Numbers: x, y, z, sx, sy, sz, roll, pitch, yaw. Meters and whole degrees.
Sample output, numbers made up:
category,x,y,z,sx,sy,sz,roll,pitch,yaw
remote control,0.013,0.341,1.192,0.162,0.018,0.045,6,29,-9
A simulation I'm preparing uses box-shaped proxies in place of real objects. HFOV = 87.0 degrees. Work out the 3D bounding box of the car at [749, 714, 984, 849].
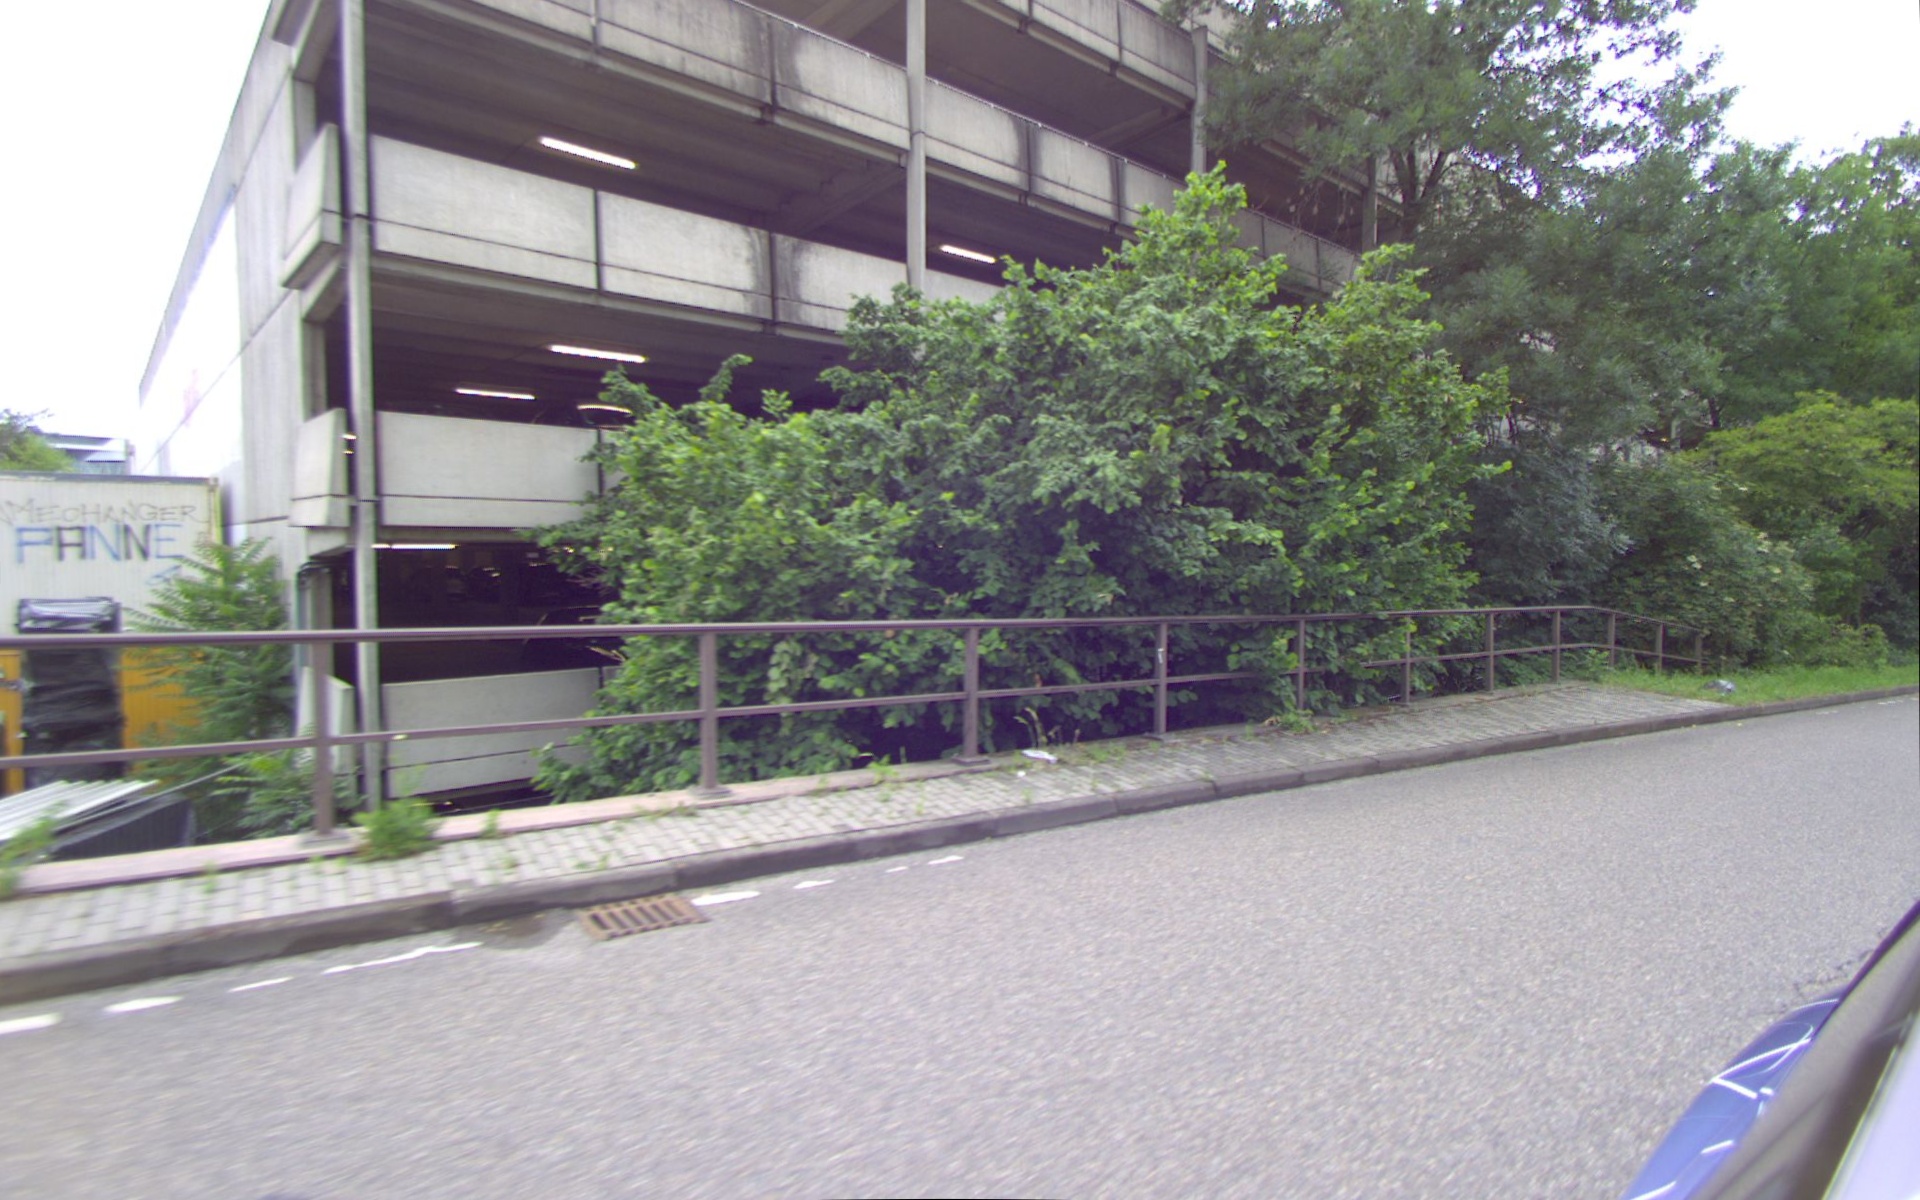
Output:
category,x,y,z,sx,sy,sz,roll,pitch,yaw
car,-1.871,3.230,18.906,1.967,1.447,4.658,-4,4,-42

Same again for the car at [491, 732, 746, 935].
category,x,y,z,sx,sy,sz,roll,pitch,yaw
car,-5.390,3.361,15.592,1.967,1.806,4.751,-3,3,-42
